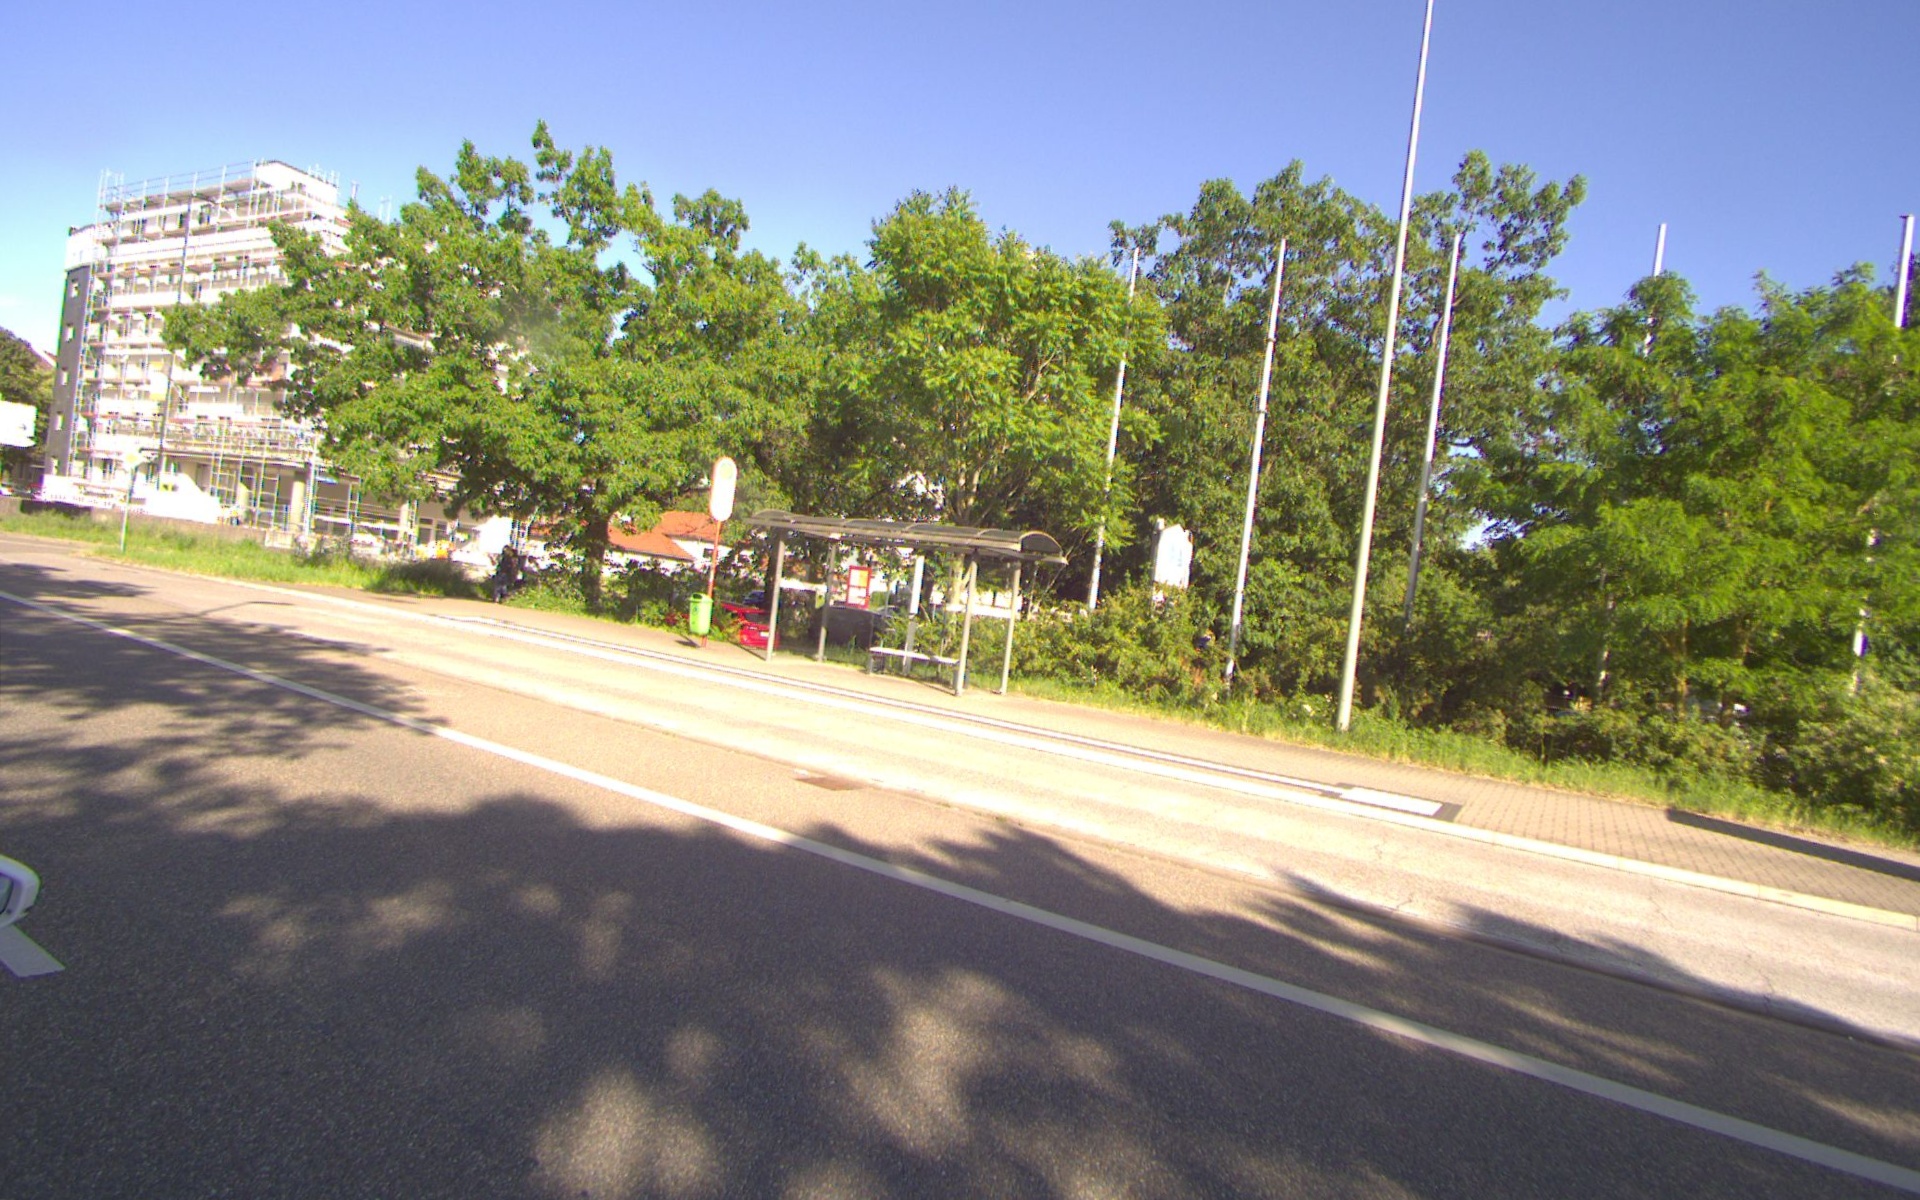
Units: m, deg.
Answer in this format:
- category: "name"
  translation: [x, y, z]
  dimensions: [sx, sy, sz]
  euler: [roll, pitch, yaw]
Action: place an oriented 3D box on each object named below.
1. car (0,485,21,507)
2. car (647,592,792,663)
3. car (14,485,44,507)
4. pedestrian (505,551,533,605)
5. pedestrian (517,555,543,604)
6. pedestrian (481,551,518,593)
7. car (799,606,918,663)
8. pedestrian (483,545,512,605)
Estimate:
- category: "car"
  translation: [-66.549, -7.277, 69.998]
  dimensions: [1.521, 1.330, 3.250]
  euler: [7, 0, -40]
- category: "car"
  translation: [-6.876, 0.791, 28.746]
  dimensions: [3.680, 1.504, 1.755]
  euler: [7, 0, 28]
- category: "car"
  translation: [-76.277, -8.494, 82.424]
  dimensions: [1.521, 1.487, 3.250]
  euler: [7, 0, -40]
- category: "pedestrian"
  translation: [-12.700, -0.634, 28.975]
  dimensions: [0.517, 1.465, 0.587]
  euler: [7, 1, -32]
- category: "pedestrian"
  translation: [-13.404, -0.636, 31.328]
  dimensions: [0.517, 1.465, 0.587]
  euler: [7, 1, -32]
- category: "pedestrian"
  translation: [-20.021, -1.205, 43.745]
  dimensions: [0.969, 1.674, 0.891]
  euler: [7, 0, 4]
- category: "car"
  translation: [-3.594, 1.216, 35.980]
  dimensions: [3.674, 1.504, 1.914]
  euler: [7, 0, 13]
- category: "pedestrian"
  translation: [-13.073, -0.711, 28.414]
  dimensions: [0.517, 1.632, 0.587]
  euler: [7, 1, -32]
